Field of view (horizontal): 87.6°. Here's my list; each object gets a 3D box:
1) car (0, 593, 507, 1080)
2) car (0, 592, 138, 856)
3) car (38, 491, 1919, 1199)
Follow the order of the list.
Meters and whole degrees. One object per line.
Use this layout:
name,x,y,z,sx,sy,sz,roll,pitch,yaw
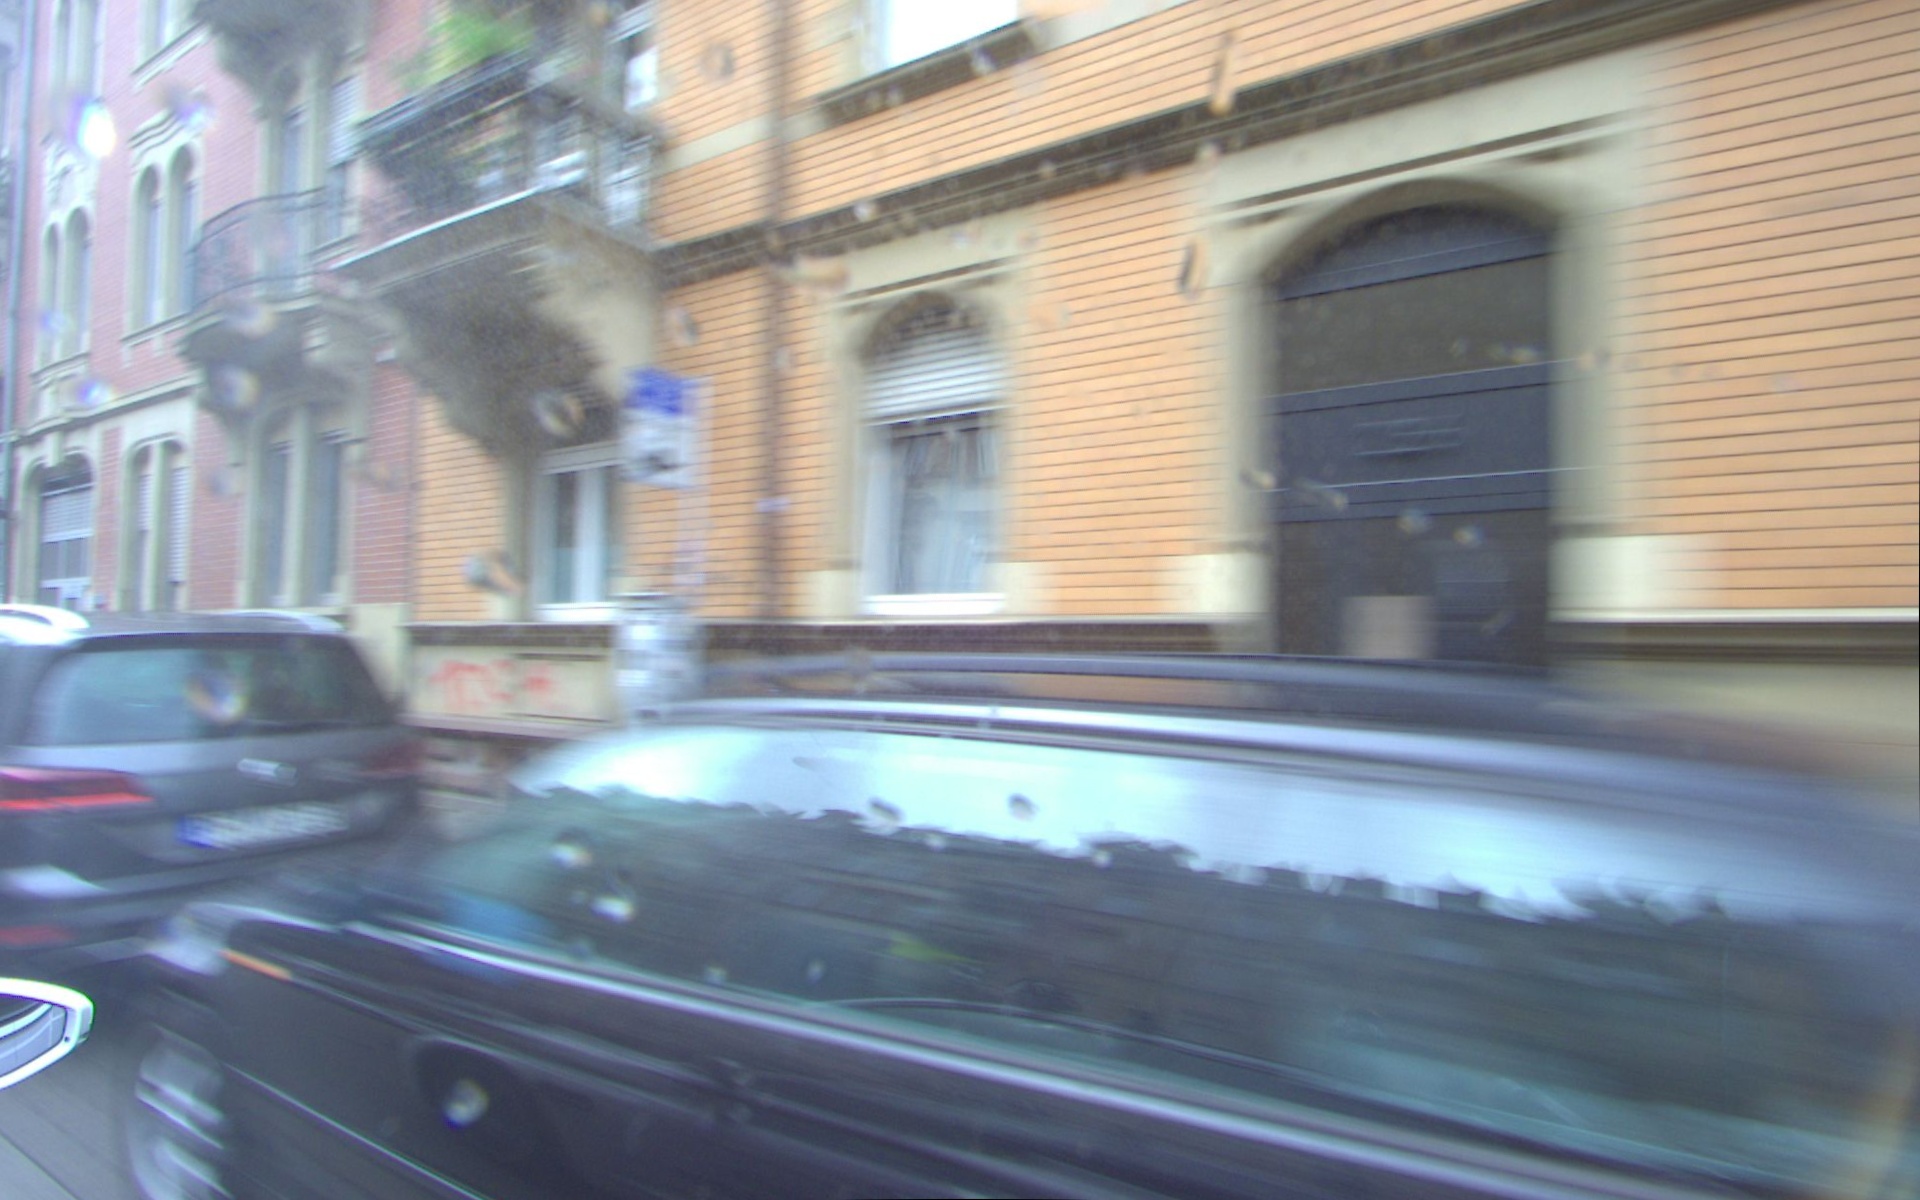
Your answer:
car,-4.445,0.826,5.156,4.284,1.581,1.868,-1,-2,34
car,-8.697,0.877,7.888,4.757,1.802,1.991,-1,-3,32
car,-0.179,0.793,2.260,4.423,1.484,1.784,-3,-4,34
